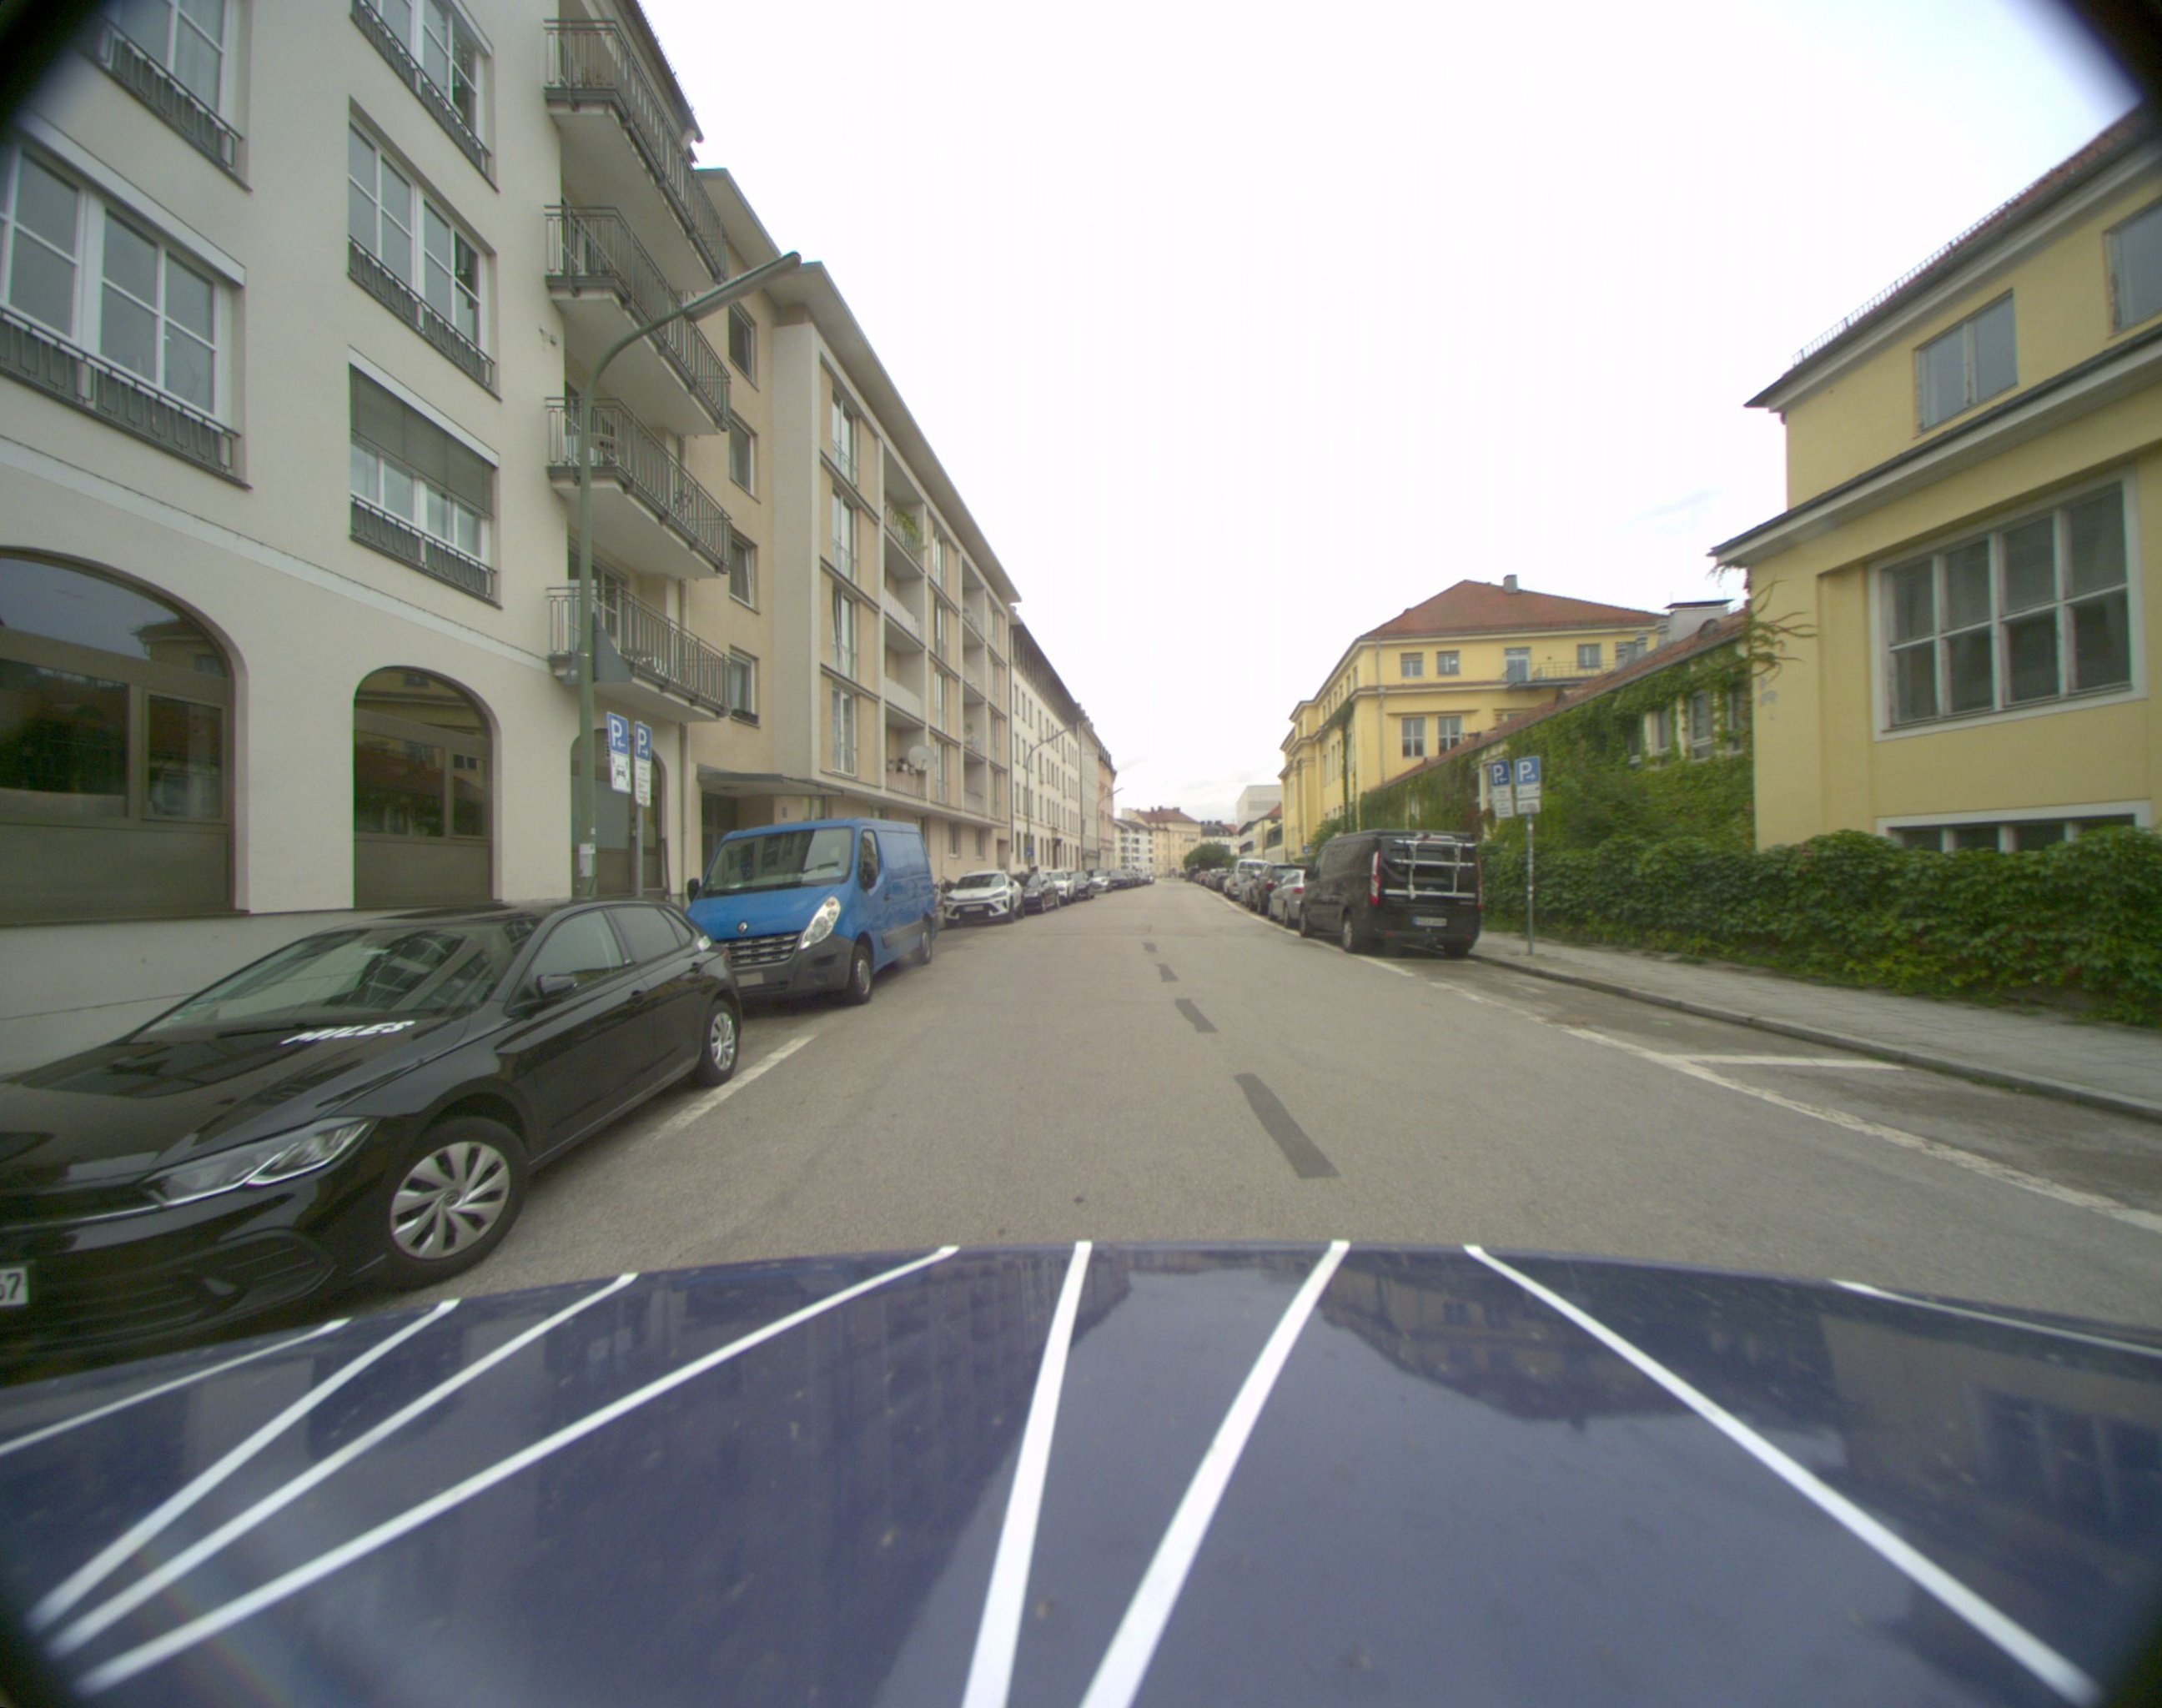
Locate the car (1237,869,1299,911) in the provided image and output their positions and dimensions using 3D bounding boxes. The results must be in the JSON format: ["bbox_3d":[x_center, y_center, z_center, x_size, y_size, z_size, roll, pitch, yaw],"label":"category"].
[{"bbox_3d":[7.199,1.344,29.631,1.807,1.369,4.494,4,0,8],"label":"car"}]

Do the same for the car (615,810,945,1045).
[{"bbox_3d":[-3.505,0.717,10.229,2.114,2.201,5.028,-6,1,1],"label":"car"}]

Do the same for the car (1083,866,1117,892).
[{"bbox_3d":[1.230,1.556,47.761,1.617,1.507,3.383,-5,-2,9],"label":"car"}]

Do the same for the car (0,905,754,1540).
[{"bbox_3d":[-3.342,1.120,3.902,1.719,1.386,3.999,-4,-1,-4],"label":"car"}]

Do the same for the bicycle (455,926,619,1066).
[{"bbox_3d":[-5.241,1.310,7.460,0.567,1.063,1.786,-1,-1,-9],"label":"bicycle"}]

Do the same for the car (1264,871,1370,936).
[{"bbox_3d":[5.792,1.155,19.111,1.710,1.357,4.004,3,-1,6],"label":"car"}]

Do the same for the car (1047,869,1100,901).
[{"bbox_3d":[-0.304,1.470,36.752,1.830,1.373,4.495,-3,-2,8],"label":"car"}]

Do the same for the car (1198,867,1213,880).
[{"bbox_3d":[15.830,2.498,96.689,1.772,1.545,4.213,2,-1,8],"label":"car"}]

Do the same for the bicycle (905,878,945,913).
[{"bbox_3d":[-5.640,1.500,27.448,1.342,1.195,0.394,2,1,-6],"label":"bicycle"}]

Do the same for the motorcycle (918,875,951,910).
[{"bbox_3d":[-5.615,1.453,29.230,0.637,1.263,2.042,0,-1,7],"label":"motorcycle"}]

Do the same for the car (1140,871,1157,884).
[{"bbox_3d":[9.204,3.171,103.710,2.000,1.562,4.495,-3,-2,8],"label":"car"}]

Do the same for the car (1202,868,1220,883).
[{"bbox_3d":[13.435,2.184,78.755,1.737,1.430,3.782,2,-1,8],"label":"car"}]

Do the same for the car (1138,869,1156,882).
[{"bbox_3d":[7.648,2.460,87.805,1.724,1.457,4.196,-3,-2,9],"label":"car"}]

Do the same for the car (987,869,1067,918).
[{"bbox_3d":[-1.803,1.348,27.044,1.775,1.420,4.697,-6,-2,8],"label":"car"}]

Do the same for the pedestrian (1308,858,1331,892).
[{"bbox_3d":[10.438,0.922,33.306,0.844,1.485,0.873,-1,-1,9],"label":"pedestrian"}]

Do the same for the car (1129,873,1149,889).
[{"bbox_3d":[6.271,2.843,81.416,1.767,1.531,4.004,-4,-2,8],"label":"car"}]

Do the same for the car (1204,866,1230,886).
[{"bbox_3d":[11.980,1.930,67.185,1.785,1.630,4.303,3,-1,5],"label":"car"}]

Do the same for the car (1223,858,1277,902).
[{"bbox_3d":[7.694,1.170,34.987,1.896,1.787,4.885,3,-1,8],"label":"car"}]

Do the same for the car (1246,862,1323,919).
[{"bbox_3d":[6.432,1.094,24.419,1.705,1.597,4.494,2,-1,7],"label":"car"}]

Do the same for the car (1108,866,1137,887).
[{"bbox_3d":[3.186,1.665,57.407,1.877,1.439,4.703,-2,-2,6],"label":"car"}]

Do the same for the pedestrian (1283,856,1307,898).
[{"bbox_3d":[9.116,0.977,32.376,0.844,1.744,0.873,-1,-1,8],"label":"pedestrian"}]

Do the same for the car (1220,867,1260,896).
[{"bbox_3d":[8.303,1.415,39.870,1.670,1.401,3.561,2,-1,6],"label":"car"}]

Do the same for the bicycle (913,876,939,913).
[{"bbox_3d":[-5.408,1.397,26.552,0.447,1.195,1.371,2,0,5],"label":"bicycle"}]

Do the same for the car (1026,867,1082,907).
[{"bbox_3d":[-1.079,1.348,32.148,1.705,1.459,4.122,-5,-1,6],"label":"car"}]

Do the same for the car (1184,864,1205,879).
[{"bbox_3d":[19.929,3.089,133.718,2.846,2.536,6.895,0,-1,2],"label":"car"}]

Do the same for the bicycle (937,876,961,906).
[{"bbox_3d":[-5.417,1.513,31.245,0.514,1.150,1.602,0,0,7],"label":"bicycle"}]

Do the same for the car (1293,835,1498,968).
[{"bbox_3d":[5.453,0.772,13.925,1.930,1.967,4.624,2,-1,2],"label":"car"}]

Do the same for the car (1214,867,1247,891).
[{"bbox_3d":[9.806,1.627,50.108,1.720,1.472,4.223,3,-1,6],"label":"car"}]

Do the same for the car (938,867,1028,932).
[{"bbox_3d":[-2.681,1.241,21.800,1.780,1.513,4.306,-5,-2,2],"label":"car"}]
